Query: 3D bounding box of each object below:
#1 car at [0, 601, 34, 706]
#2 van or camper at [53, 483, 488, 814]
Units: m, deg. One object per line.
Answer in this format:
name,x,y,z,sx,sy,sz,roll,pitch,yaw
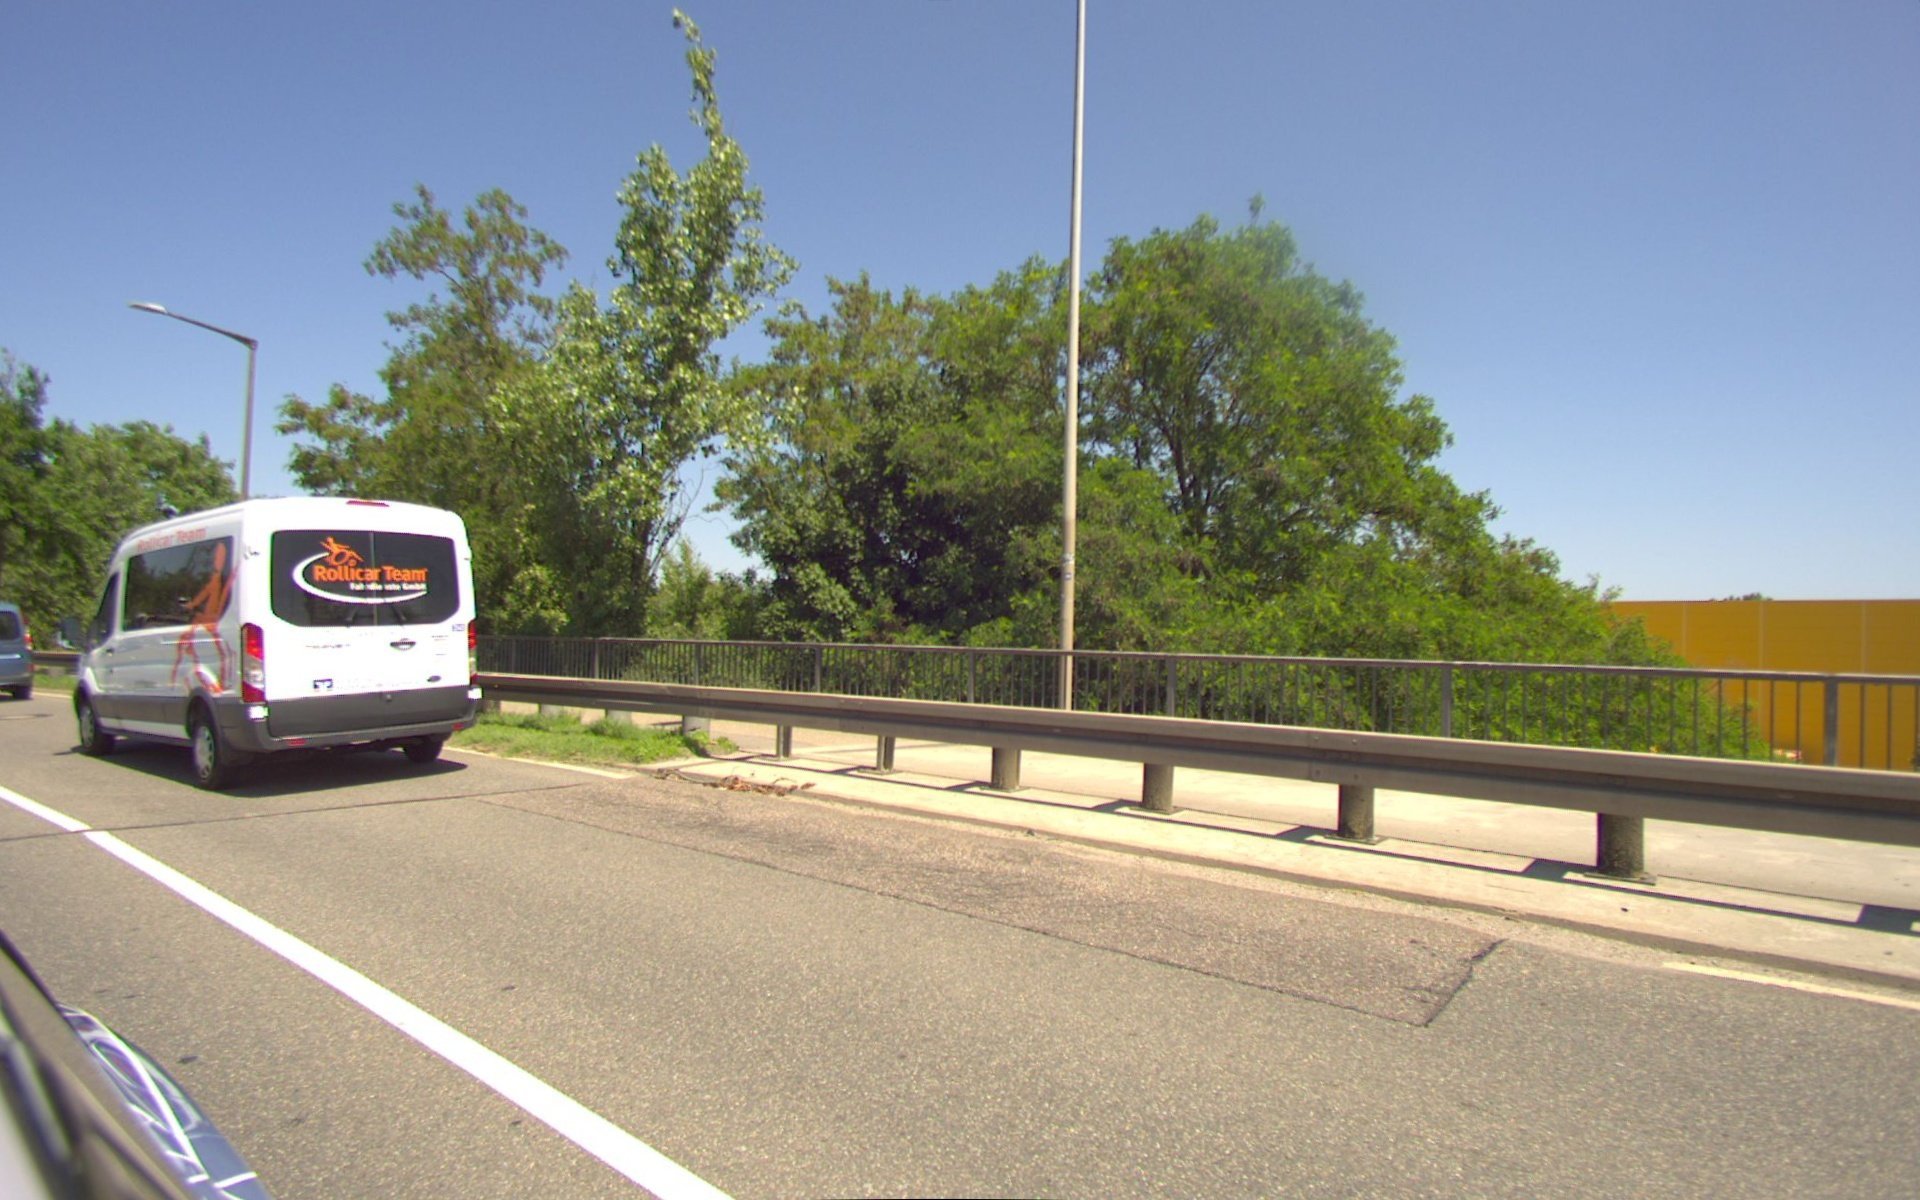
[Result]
car,-19.103,0.979,18.727,4.259,1.869,1.744,-1,-1,31
van or camper,-7.331,0.438,10.446,5.875,2.557,2.029,-2,-1,38
